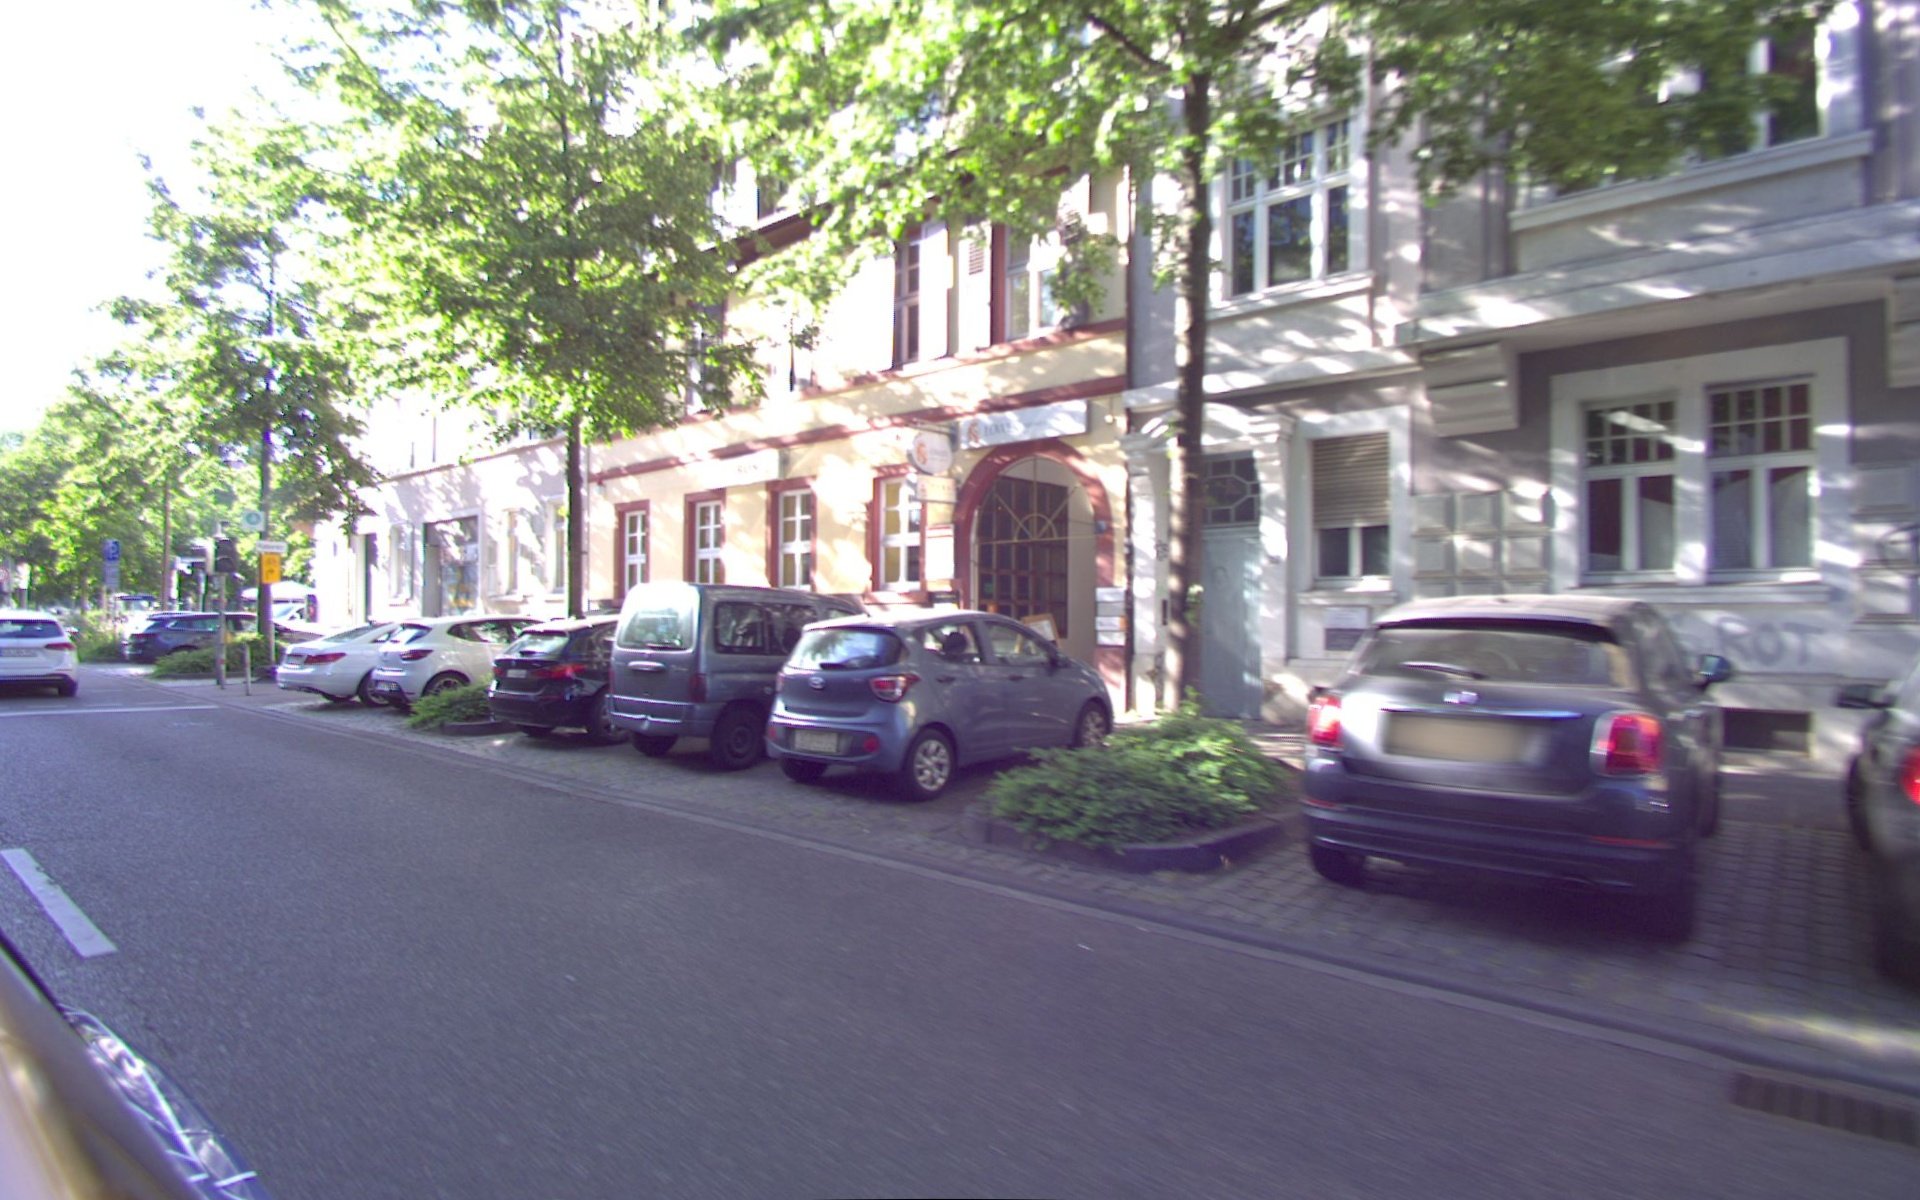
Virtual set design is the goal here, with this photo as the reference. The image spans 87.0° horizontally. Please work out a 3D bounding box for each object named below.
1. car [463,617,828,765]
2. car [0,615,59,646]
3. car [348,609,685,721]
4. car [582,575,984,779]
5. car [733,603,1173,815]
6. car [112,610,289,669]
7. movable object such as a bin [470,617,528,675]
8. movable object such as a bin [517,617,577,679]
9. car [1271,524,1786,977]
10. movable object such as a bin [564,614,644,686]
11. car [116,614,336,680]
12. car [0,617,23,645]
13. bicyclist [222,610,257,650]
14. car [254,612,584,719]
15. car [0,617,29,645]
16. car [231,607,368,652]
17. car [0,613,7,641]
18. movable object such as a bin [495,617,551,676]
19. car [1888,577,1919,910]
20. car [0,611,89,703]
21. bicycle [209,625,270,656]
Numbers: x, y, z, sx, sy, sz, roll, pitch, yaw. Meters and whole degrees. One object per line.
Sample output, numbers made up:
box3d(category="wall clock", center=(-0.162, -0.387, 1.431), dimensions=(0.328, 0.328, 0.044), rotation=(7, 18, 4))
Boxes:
box3d(category="car", center=(-3.793, 0.996, 12.992), dimensions=(1.957, 1.556, 4.308), rotation=(-1, -1, 31))
box3d(category="car", center=(-48.327, 1.528, 51.006), dimensions=(1.978, 1.574, 3.988), rotation=(0, -1, 10))
box3d(category="car", center=(-7.054, 0.949, 16.531), dimensions=(1.998, 1.503, 4.654), rotation=(-2, -1, 39))
box3d(category="car", center=(-1.781, 0.731, 11.433), dimensions=(1.928, 1.838, 4.297), rotation=(-1, -1, 38))
box3d(category="car", center=(0.151, 0.840, 9.711), dimensions=(1.915, 1.556, 4.295), rotation=(-1, -1, 40))
box3d(category="car", center=(-22.617, 1.130, 30.221), dimensions=(1.944, 1.652, 3.943), rotation=(-1, -1, 43))
box3d(category="movable object such as a bin", center=(-11.435, 1.115, 25.100), dimensions=(1.261, 1.377, 0.899), rotation=(-1, -1, 44))
box3d(category="movable object such as a bin", center=(-9.523, 1.089, 23.328), dimensions=(1.346, 1.372, 0.808), rotation=(-1, -1, 45))
box3d(category="car", center=(3.717, 0.617, 6.179), dimensions=(1.916, 1.746, 4.294), rotation=(-1, -1, 41))
box3d(category="movable object such as a bin", center=(-7.551, 1.023, 21.449), dimensions=(1.382, 1.455, 1.121), rotation=(-1, -1, 44))
box3d(category="car", center=(-18.723, 1.133, 25.955), dimensions=(1.944, 1.556, 4.292), rotation=(-1, -1, 43))
box3d(category="car", center=(-52.915, 1.649, 53.891), dimensions=(1.981, 1.485, 3.981), rotation=(0, -1, 15))
box3d(category="bicyclist", center=(-28.055, 1.144, 39.416), dimensions=(0.663, 1.537, 0.885), rotation=(0, -1, 16))
box3d(category="car", center=(-9.151, 0.995, 17.507), dimensions=(1.996, 1.503, 4.657), rotation=(1, 0, 36))
box3d(category="car", center=(-50.574, 1.596, 51.789), dimensions=(1.978, 1.453, 3.988), rotation=(0, -1, 10))
box3d(category="car", center=(-30.486, 1.417, 46.973), dimensions=(2.055, 1.959, 5.302), rotation=(0, -2, 15))
box3d(category="car", center=(-61.311, 1.663, 61.856), dimensions=(1.986, 1.706, 3.971), rotation=(0, -1, 22))
box3d(category="movable object such as a bin", center=(-10.482, 1.091, 24.243), dimensions=(1.249, 1.366, 0.820), rotation=(-1, -1, 44))
box3d(category="car", center=(5.658, 0.699, 4.623), dimensions=(1.915, 1.607, 4.294), rotation=(-1, -1, 41))
box3d(category="car", center=(-17.617, 0.978, 18.540), dimensions=(4.351, 1.556, 1.890), rotation=(-1, -1, 41))
box3d(category="bicycle", center=(-28.047, 1.574, 39.438), dimensions=(0.663, 1.167, 1.934), rotation=(0, -1, 16))
